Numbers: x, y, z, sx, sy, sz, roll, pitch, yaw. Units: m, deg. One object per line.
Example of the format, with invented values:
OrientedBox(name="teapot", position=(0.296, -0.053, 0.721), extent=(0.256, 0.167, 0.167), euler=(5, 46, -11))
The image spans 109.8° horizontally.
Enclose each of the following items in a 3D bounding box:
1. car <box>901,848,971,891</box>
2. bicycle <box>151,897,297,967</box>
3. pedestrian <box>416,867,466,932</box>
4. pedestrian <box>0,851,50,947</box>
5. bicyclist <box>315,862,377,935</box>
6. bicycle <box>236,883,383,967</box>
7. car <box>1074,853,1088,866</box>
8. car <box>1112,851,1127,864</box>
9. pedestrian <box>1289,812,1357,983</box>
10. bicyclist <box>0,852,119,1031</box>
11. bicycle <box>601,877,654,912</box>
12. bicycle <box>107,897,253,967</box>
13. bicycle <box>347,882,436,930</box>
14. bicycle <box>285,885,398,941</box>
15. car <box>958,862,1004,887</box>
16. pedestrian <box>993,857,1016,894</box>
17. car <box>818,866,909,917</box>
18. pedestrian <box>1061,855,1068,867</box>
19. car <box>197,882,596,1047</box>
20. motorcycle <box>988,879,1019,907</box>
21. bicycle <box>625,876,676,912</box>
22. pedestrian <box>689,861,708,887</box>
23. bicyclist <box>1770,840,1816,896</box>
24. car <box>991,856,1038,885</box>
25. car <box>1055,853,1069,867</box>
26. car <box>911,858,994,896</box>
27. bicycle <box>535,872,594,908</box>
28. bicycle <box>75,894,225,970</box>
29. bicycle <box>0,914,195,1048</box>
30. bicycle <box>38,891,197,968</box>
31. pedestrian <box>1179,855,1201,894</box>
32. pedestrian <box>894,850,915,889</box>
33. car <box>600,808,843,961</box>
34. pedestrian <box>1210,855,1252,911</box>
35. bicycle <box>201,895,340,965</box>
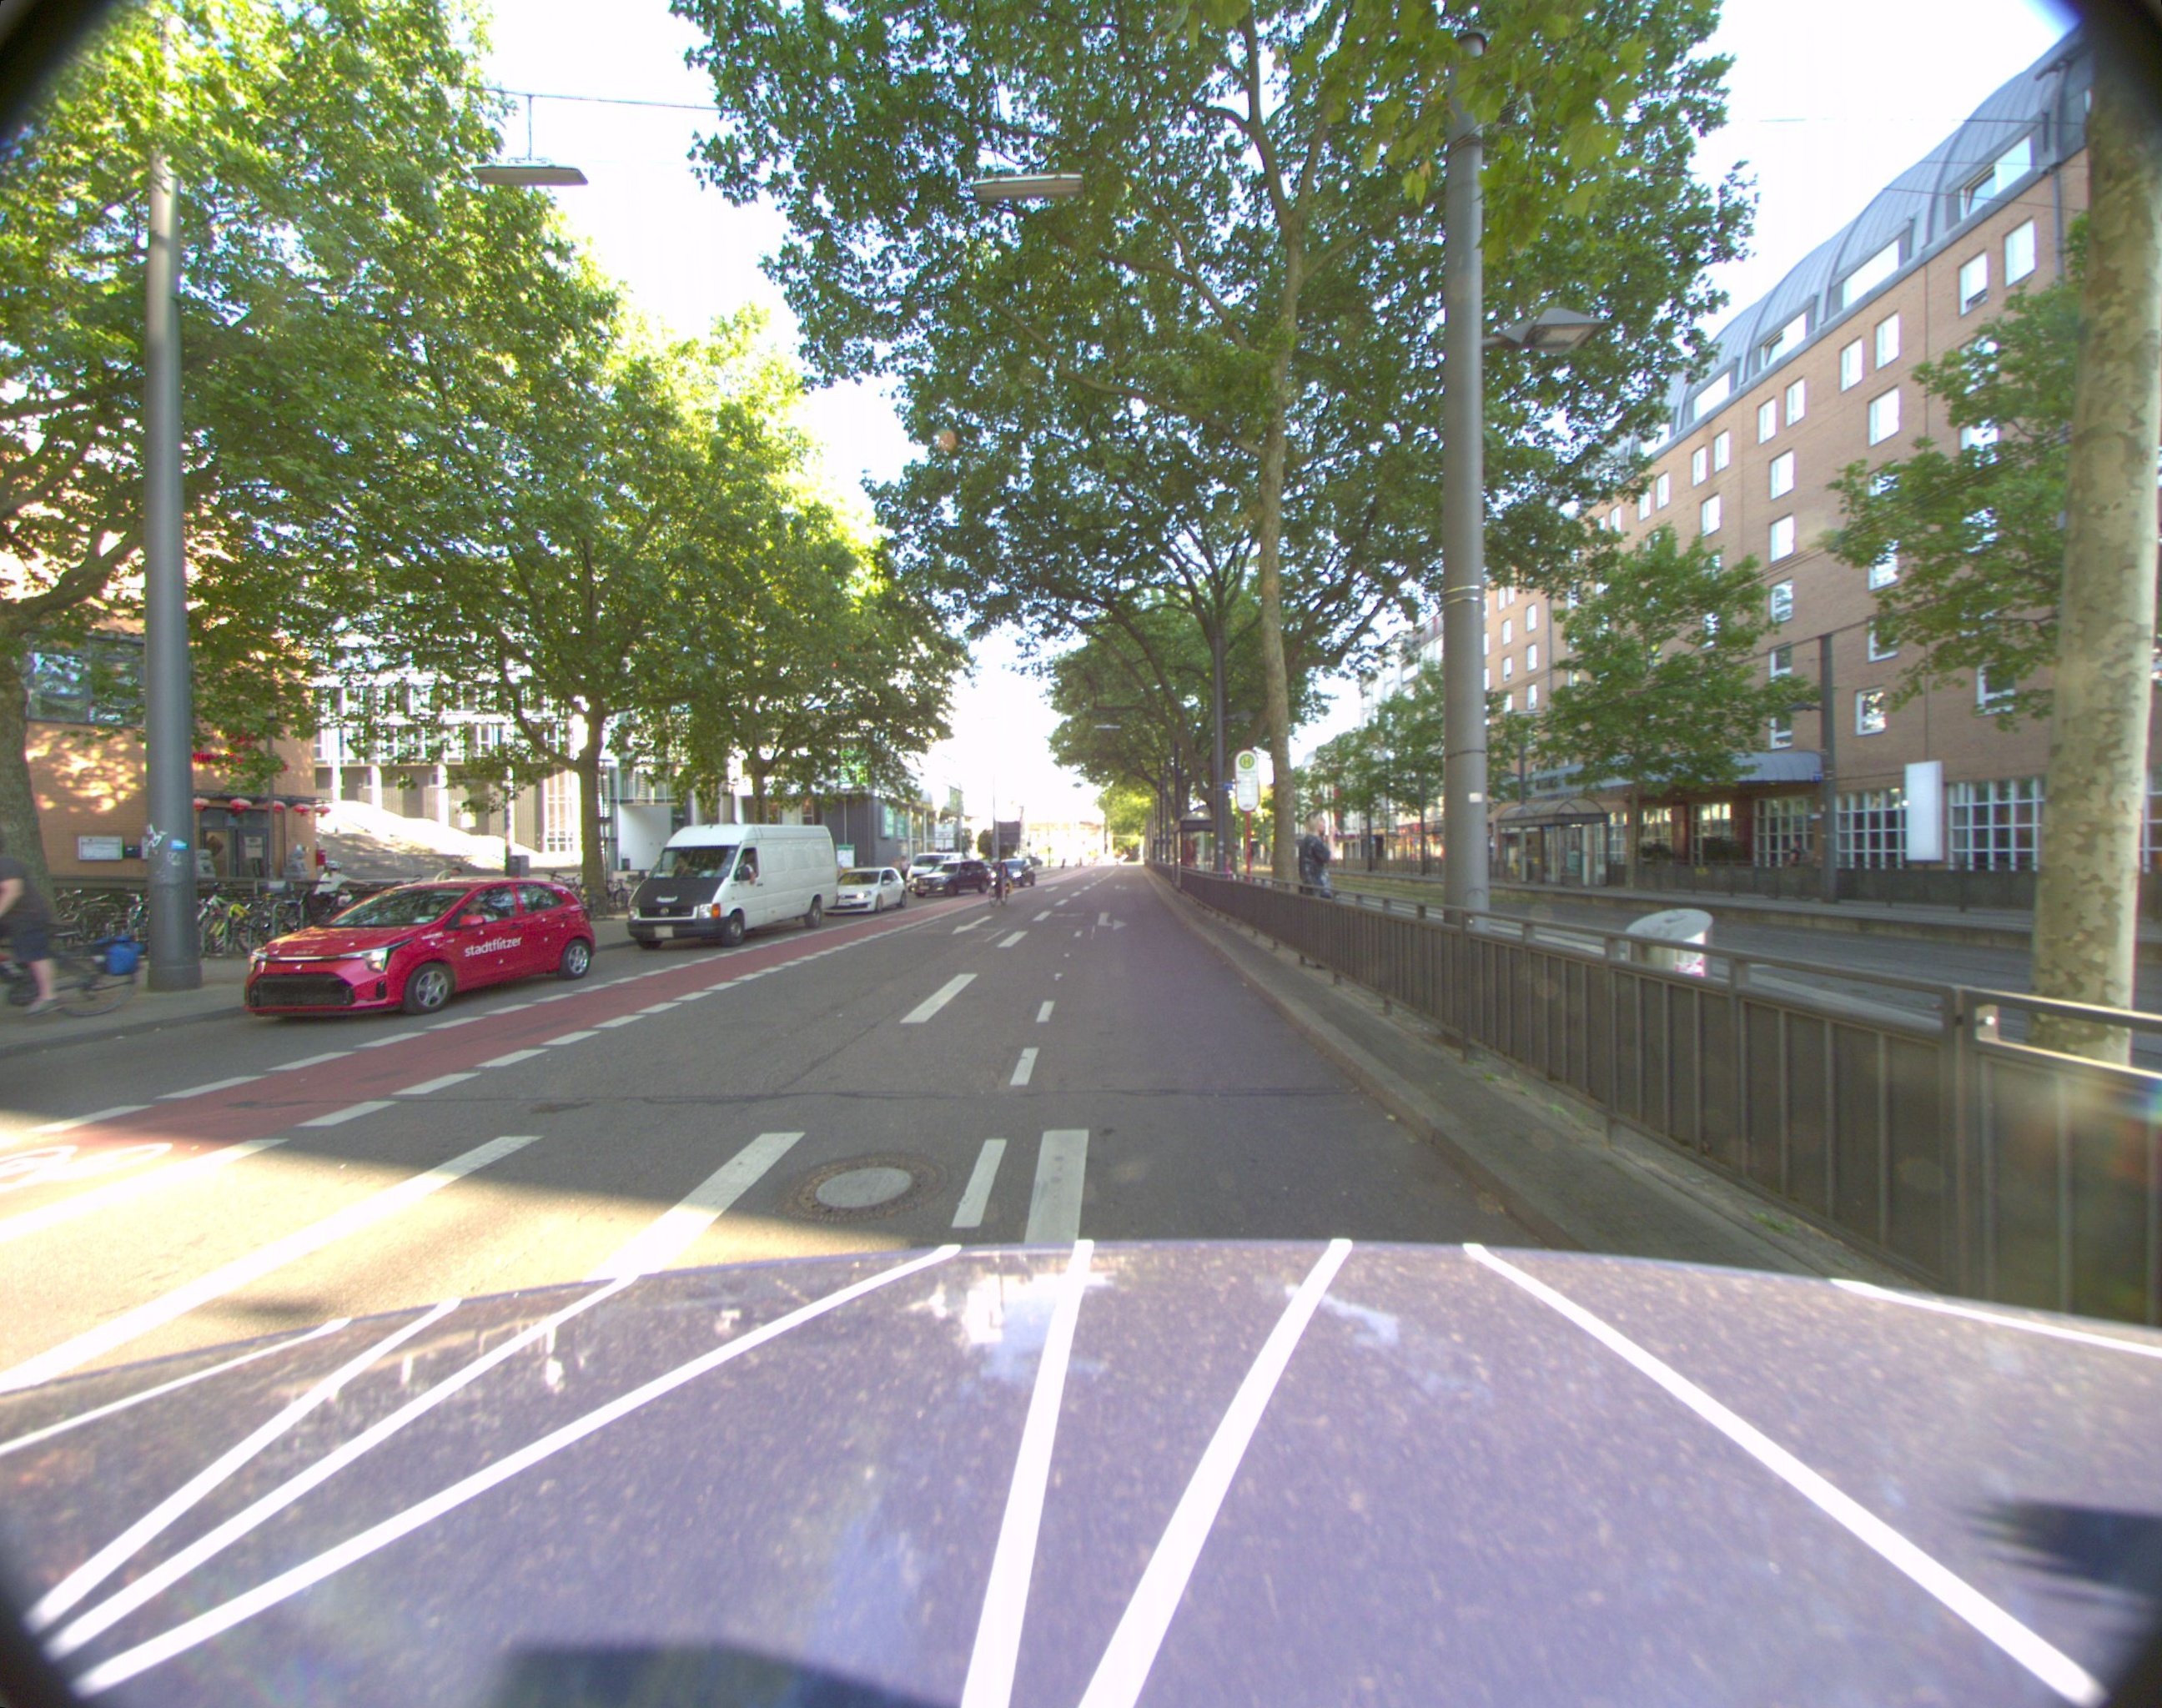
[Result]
OrientedBox(name="car", position=(-7.595, 0.768, 40.323), extent=(2.127, 2.121, 5.292), euler=(0, 0, 6))
OrientedBox(name="bicycle", position=(-14.688, 1.309, 13.092), extent=(0.597, 1.026, 1.655), euler=(0, 0, 1))
OrientedBox(name="pedestrian", position=(-16.292, 1.144, 19.350), extent=(0.718, 1.622, 0.636), euler=(0, 1, 7))
OrientedBox(name="pedestrian", position=(-19.963, 0.819, 13.905), extent=(0.788, 1.747, 1.020), euler=(0, 1, 6))
OrientedBox(name="bicyclist", position=(-16.819, 0.998, 17.407), extent=(0.563, 1.607, 0.822), euler=(0, 1, 17))
OrientedBox(name="bicycle", position=(-13.222, 1.173, 13.114), extent=(0.597, 1.257, 1.876), euler=(0, 0, 1))
OrientedBox(name="car", position=(0.027, 0.767, 112.281), extent=(1.998, 1.681, 3.999), euler=(-2, 1, 1))
OrientedBox(name="car", position=(5.677, 0.451, 112.151), extent=(1.958, 1.760, 3.999), euler=(-2, 1, 1))
OrientedBox(name="pedestrian", position=(2.807, 0.486, 8.861), extent=(0.511, 1.889, 0.760), euler=(-2, 1, 2))
OrientedBox(name="bicyclist", position=(-10.400, 0.834, 7.531), extent=(0.752, 1.678, 0.714), euler=(-2, 1, 1))
OrientedBox(name="bicycle", position=(-14.643, 1.302, 24.571), extent=(0.597, 1.041, 1.655), euler=(0, 0, 4))
OrientedBox(name="bicycle", position=(-15.370, 1.294, 13.034), extent=(0.503, 1.026, 1.655), euler=(0, 0, 1))
OrientedBox(name="bicycle", position=(-17.779, 1.319, 19.641), extent=(0.596, 1.119, 1.656), euler=(0, 0, 9))
OrientedBox(name="bicycle", position=(-16.834, 1.317, 17.360), extent=(0.566, 1.119, 1.780), euler=(0, 0, 17))
OrientedBox(name="car", position=(-6.170, 1.256, 47.130), extent=(1.784, 1.411, 4.024), euler=(0, 0, 8))
OrientedBox(name="pedestrian", position=(-2.637, 0.734, 26.182), extent=(0.665, 1.218, 0.775), euler=(0, 1, 4))
OrientedBox(name="car", position=(-7.030, 1.179, 24.962), extent=(1.671, 1.455, 3.869), euler=(0, 0, 3))
OrientedBox(name="pedestrian", position=(-2.205, 0.903, 101.375), extent=(0.753, 1.565, 0.912), euler=(-1, 1, 6))
OrientedBox(name="car", position=(-7.949, 1.165, 9.356), extent=(1.562, 1.455, 3.621), euler=(-2, 0, 1))
OrientedBox(name="motorcycle", position=(-2.651, 1.333, 26.206), extent=(0.667, 0.843, 2.223), euler=(0, 0, 4))
OrientedBox(name="bicycle", position=(-13.869, 1.275, 24.523), extent=(0.597, 1.041, 1.655), euler=(0, 0, 4))
OrientedBox(name="pedestrian", position=(-21.423, 1.109, 42.583), extent=(0.712, 1.447, 0.601), euler=(0, 1, 4))
OrientedBox(name="bicyclist", position=(23.334, 0.452, 24.915), extent=(0.752, 1.775, 0.852), euler=(0, 1, 4))
OrientedBox(name="car", position=(-3.805, 0.931, 44.230), extent=(1.759, 1.565, 4.003), euler=(0, 0, 10))
OrientedBox(name="car", position=(-2.736, 0.853, 111.434), extent=(1.999, 1.856, 3.999), euler=(-2, 1, -1))
OrientedBox(name="car", position=(-5.863, 1.012, 35.148), extent=(1.782, 1.628, 4.029), euler=(0, 0, 26))
OrientedBox(name="bicycle", position=(-16.103, 1.106, 23.726), extent=(0.597, 1.041, 1.655), euler=(0, 0, 4))
OrientedBox(name="bicycle", position=(-15.936, 1.294, 13.071), extent=(0.503, 1.130, 1.655), euler=(0, 0, 1))
OrientedBox(name="bicycle", position=(-10.308, 1.241, 7.510), extent=(0.551, 1.114, 2.127), euler=(2, 0, 1))
OrientedBox(name="bicycle", position=(-16.489, 1.257, 13.074), extent=(0.479, 1.153, 1.694), euler=(0, 0, 5))
OrientedBox(name="pedestrian", position=(3.999, 0.744, 27.835), extent=(0.735, 1.379, 0.640), euler=(-2, 1, 6))
OrientedBox(name="pedestrian", position=(-9.498, 0.828, 40.945), extent=(0.808, 2.002, 0.665), euler=(-2, 1, 7))
OrientedBox(name="car", position=(-7.567, 0.547, 17.091), extent=(1.998, 2.708, 6.562), euler=(-2, 0, 2))
OrientedBox(name="pedestrian", position=(3.868, 0.737, 19.650), extent=(0.979, 1.392, 0.664), euler=(-2, 1, 6))
OrientedBox(name="bicycle", position=(-13.918, 1.277, 13.126), extent=(0.597, 1.026, 1.655), euler=(0, 0, 1))
